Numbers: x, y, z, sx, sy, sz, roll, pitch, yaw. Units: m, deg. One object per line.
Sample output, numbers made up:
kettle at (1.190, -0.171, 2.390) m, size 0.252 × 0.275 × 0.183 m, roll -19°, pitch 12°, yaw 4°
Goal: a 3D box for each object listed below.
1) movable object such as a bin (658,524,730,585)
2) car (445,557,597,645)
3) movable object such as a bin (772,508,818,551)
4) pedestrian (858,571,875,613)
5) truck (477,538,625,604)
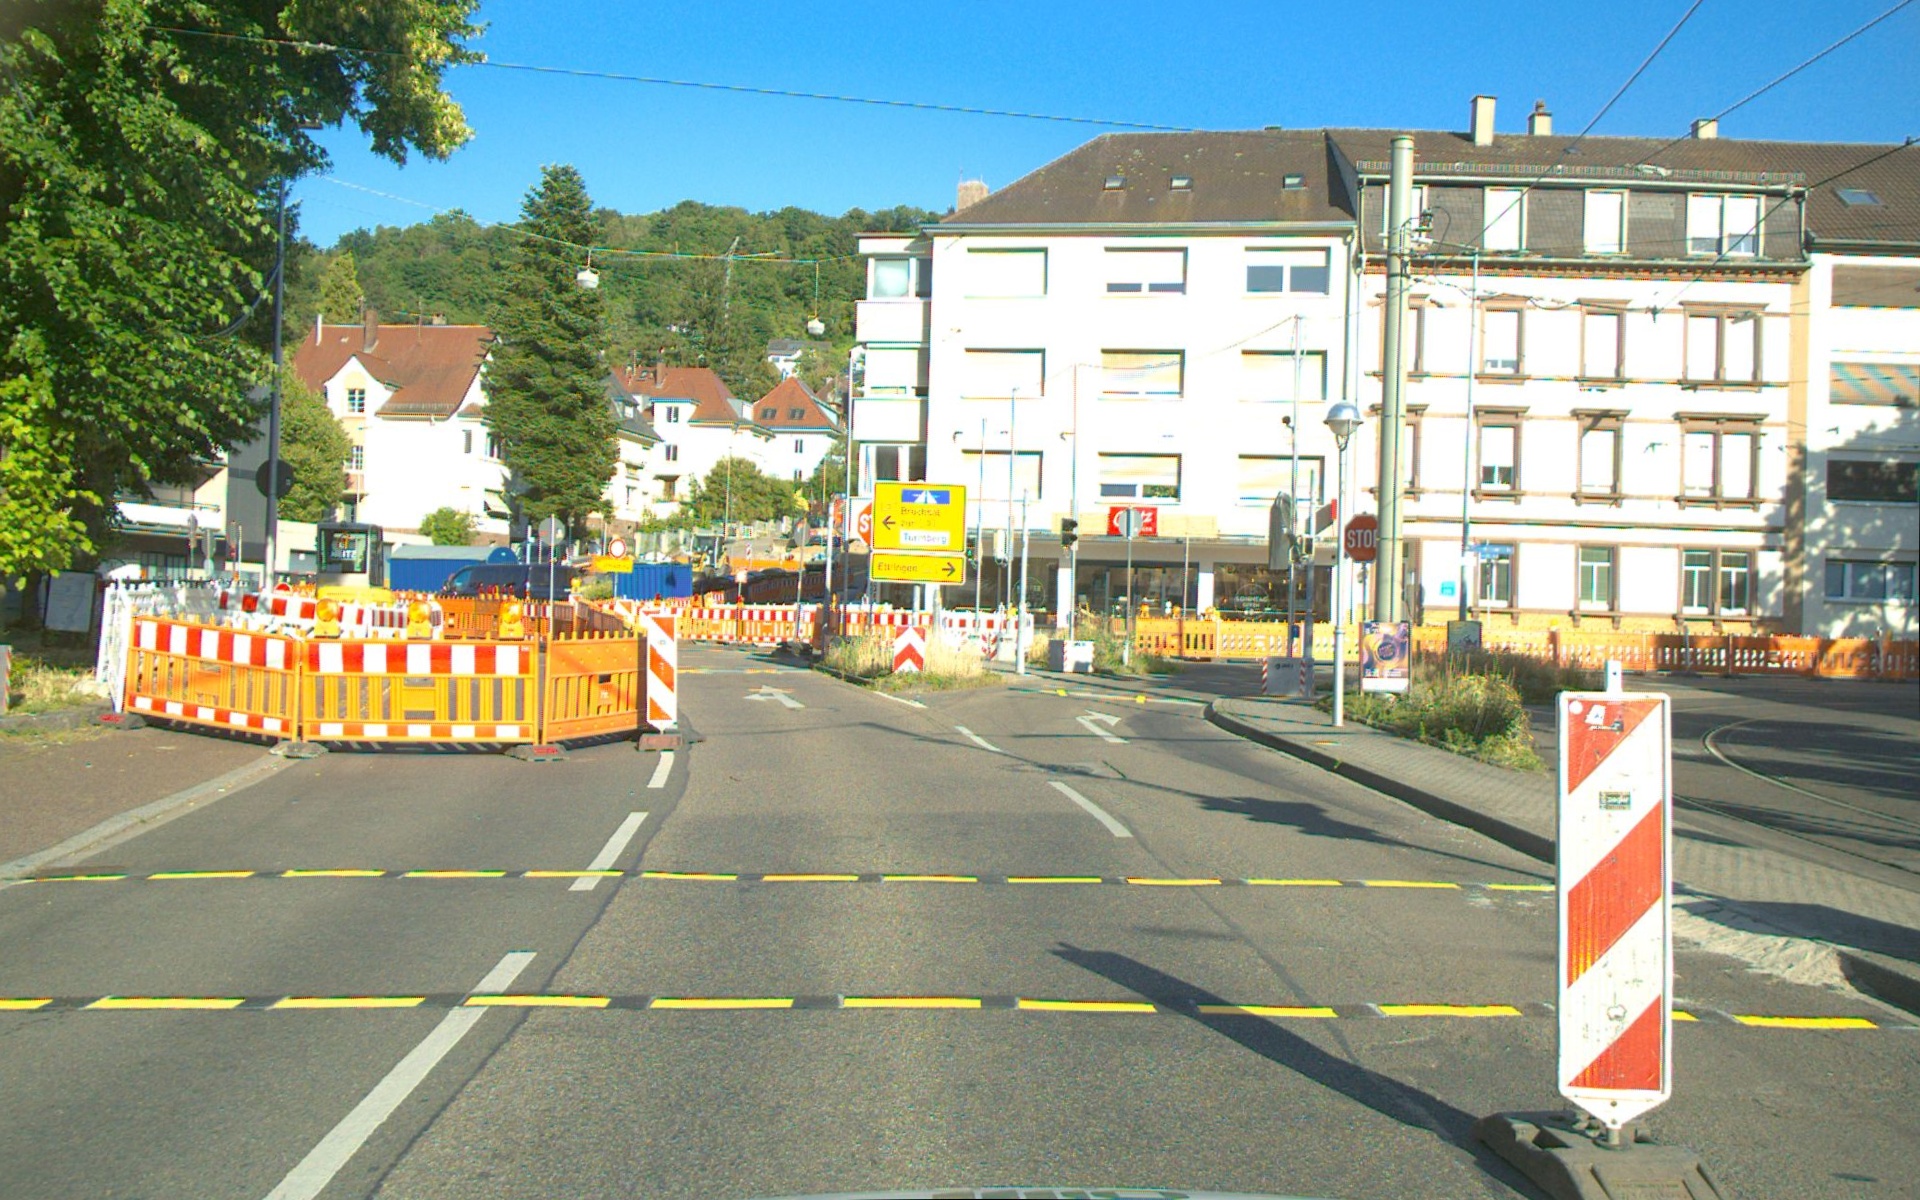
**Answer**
movable object such as a bin at (-12.679, -2.156, 79.046) m, size 2.144 × 2.737 × 4.003 m, roll 1°, pitch 0°, yaw 9°
car at (-11.948, -0.012, 44.801) m, size 2.049 × 2.048 × 4.929 m, roll 2°, pitch 2°, yaw -40°
movable object such as a bin at (-11.315, -4.811, 113.645) m, size 2.144 × 2.737 × 4.003 m, roll 1°, pitch 0°, yaw 9°
pedestrian at (-3.983, -0.338, 70.570) m, size 0.627 × 1.791 × 0.718 m, roll 1°, pitch 0°, yaw -1°
truck at (-16.734, -1.124, 68.409) m, size 2.306 × 2.458 × 9.159 m, roll 1°, pitch 0°, yaw 10°
